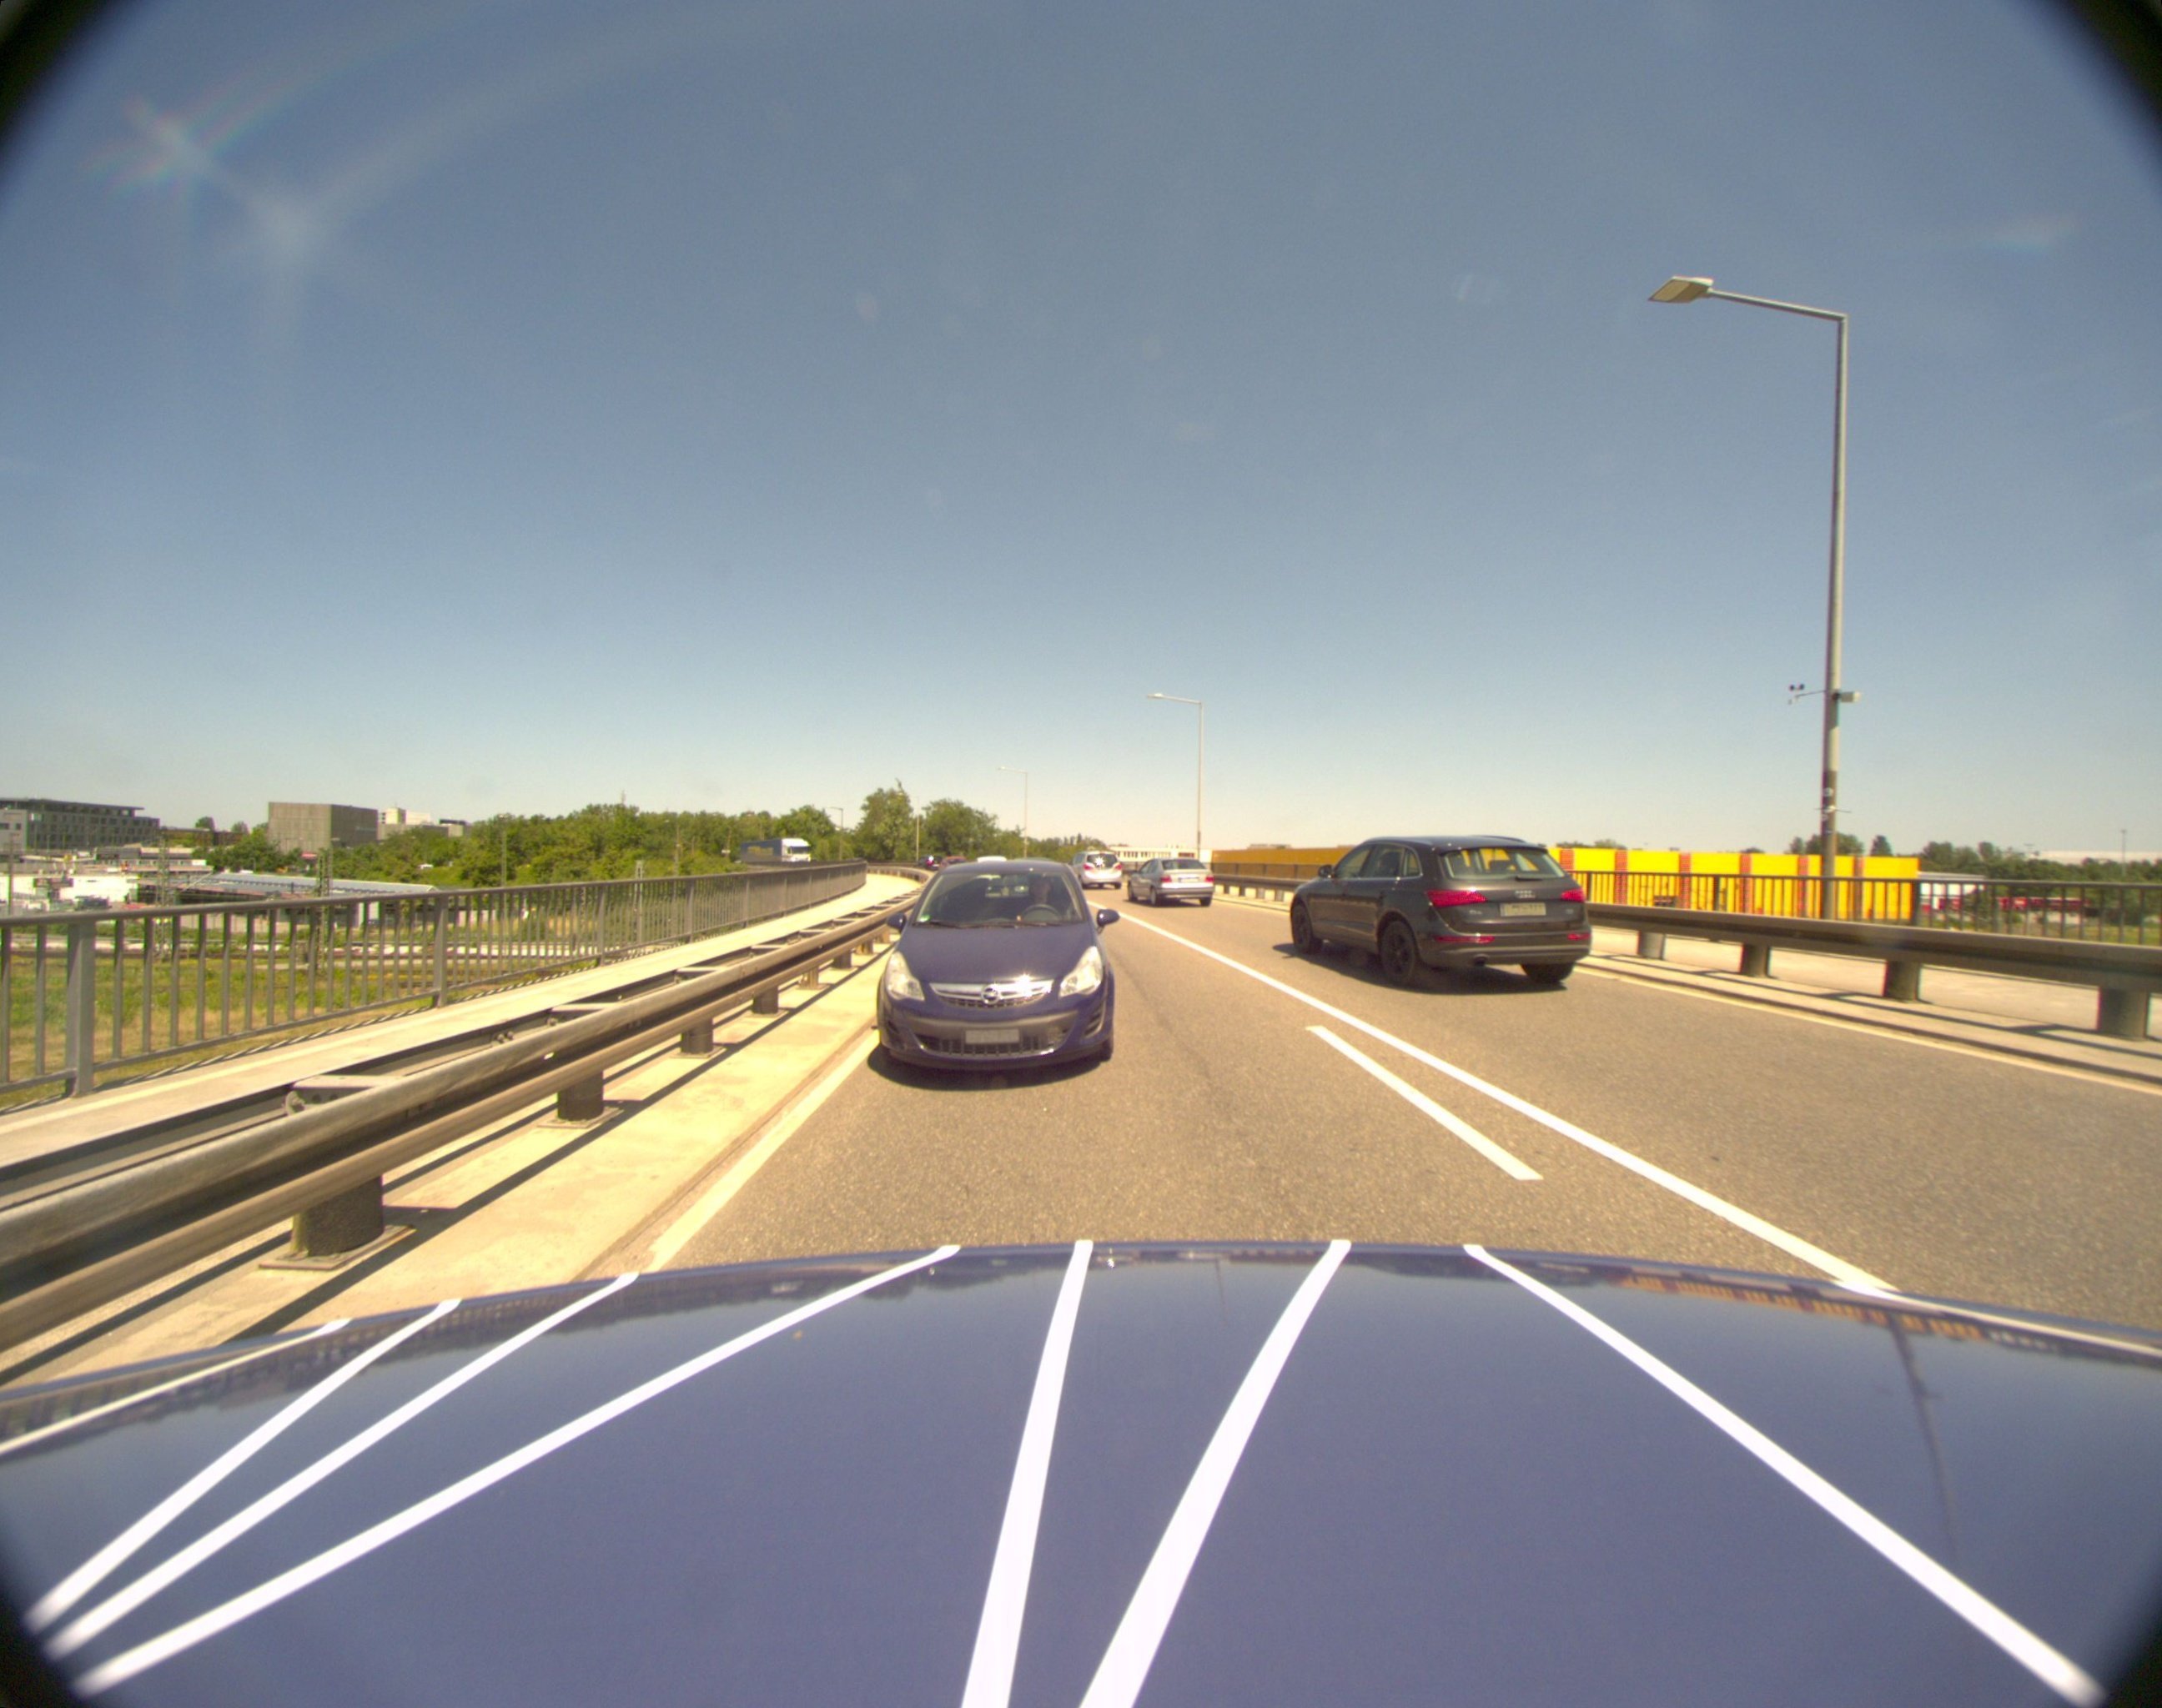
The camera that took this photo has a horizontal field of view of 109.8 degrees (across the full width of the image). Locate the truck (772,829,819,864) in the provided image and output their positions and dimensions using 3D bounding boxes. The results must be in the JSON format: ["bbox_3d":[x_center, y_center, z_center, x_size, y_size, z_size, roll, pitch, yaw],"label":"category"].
[{"bbox_3d":[-35.992,-0.903,95.557,6.820,4.205,2.702,-1,2,44],"label":"truck"}]

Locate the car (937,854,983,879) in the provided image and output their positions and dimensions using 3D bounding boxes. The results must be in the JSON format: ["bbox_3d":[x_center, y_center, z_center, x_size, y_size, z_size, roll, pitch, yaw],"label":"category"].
[{"bbox_3d":[-7.554,0.720,47.107,1.798,1.447,4.514,-1,1,-23],"label":"car"}]

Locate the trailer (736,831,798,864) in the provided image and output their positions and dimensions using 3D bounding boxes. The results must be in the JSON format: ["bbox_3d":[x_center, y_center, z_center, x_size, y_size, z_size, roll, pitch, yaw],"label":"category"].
[{"bbox_3d":[-42.022,-0.825,101.419,12.676,4.211,2.707,-1,2,44],"label":"trailer"}]

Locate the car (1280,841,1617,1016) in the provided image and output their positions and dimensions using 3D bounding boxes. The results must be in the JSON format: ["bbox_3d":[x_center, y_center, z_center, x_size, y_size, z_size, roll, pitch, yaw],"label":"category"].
[{"bbox_3d":[4.089,0.696,9.391,1.806,1.631,4.298,-1,0,-5],"label":"car"}]

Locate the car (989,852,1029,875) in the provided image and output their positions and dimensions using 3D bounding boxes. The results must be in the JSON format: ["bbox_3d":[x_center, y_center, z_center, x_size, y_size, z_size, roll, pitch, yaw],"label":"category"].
[{"bbox_3d":[-4.836,0.609,50.773,1.779,1.430,4.385,-1,0,-17],"label":"car"}]

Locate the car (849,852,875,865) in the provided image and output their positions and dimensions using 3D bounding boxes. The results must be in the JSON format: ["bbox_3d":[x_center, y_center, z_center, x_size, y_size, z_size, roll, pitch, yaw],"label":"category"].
[{"bbox_3d":[-25.615,0.481,88.796,1.784,1.499,4.183,-1,0,-33],"label":"car"}]

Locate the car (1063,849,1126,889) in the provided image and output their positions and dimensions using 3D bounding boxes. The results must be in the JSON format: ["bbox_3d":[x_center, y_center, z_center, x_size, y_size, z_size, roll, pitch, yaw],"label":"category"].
[{"bbox_3d":[0.499,0.589,32.829,1.743,1.571,4.171,-2,1,-12],"label":"car"}]

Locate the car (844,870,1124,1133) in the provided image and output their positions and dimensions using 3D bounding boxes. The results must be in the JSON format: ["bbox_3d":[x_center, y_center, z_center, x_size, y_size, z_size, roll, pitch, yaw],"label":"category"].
[{"bbox_3d":[-0.685,0.928,6.599,1.645,1.431,3.998,-2,0,-3],"label":"car"}]

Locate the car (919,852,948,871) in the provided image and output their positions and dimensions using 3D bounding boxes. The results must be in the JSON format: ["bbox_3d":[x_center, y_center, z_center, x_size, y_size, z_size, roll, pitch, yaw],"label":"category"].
[{"bbox_3d":[-13.487,0.647,69.346,1.780,1.616,4.245,-1,1,-22],"label":"car"}]

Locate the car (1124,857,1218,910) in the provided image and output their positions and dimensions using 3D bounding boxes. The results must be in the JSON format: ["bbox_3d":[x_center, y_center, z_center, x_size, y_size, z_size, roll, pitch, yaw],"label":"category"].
[{"bbox_3d":[2.535,0.795,22.316,1.702,1.368,3.996,-1,1,-9],"label":"car"}]

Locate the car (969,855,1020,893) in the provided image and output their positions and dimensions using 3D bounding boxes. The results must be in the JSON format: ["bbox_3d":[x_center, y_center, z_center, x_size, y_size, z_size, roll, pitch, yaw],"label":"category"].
[{"bbox_3d":[-3.841,0.827,33.109,1.796,1.447,4.518,-2,1,-12],"label":"car"}]

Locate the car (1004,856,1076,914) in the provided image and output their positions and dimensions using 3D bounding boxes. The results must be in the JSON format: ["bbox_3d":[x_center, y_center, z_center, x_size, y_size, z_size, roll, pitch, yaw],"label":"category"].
[{"bbox_3d":[-1.302,0.813,22.286,1.795,1.447,4.520,-1,1,-7],"label":"car"}]
